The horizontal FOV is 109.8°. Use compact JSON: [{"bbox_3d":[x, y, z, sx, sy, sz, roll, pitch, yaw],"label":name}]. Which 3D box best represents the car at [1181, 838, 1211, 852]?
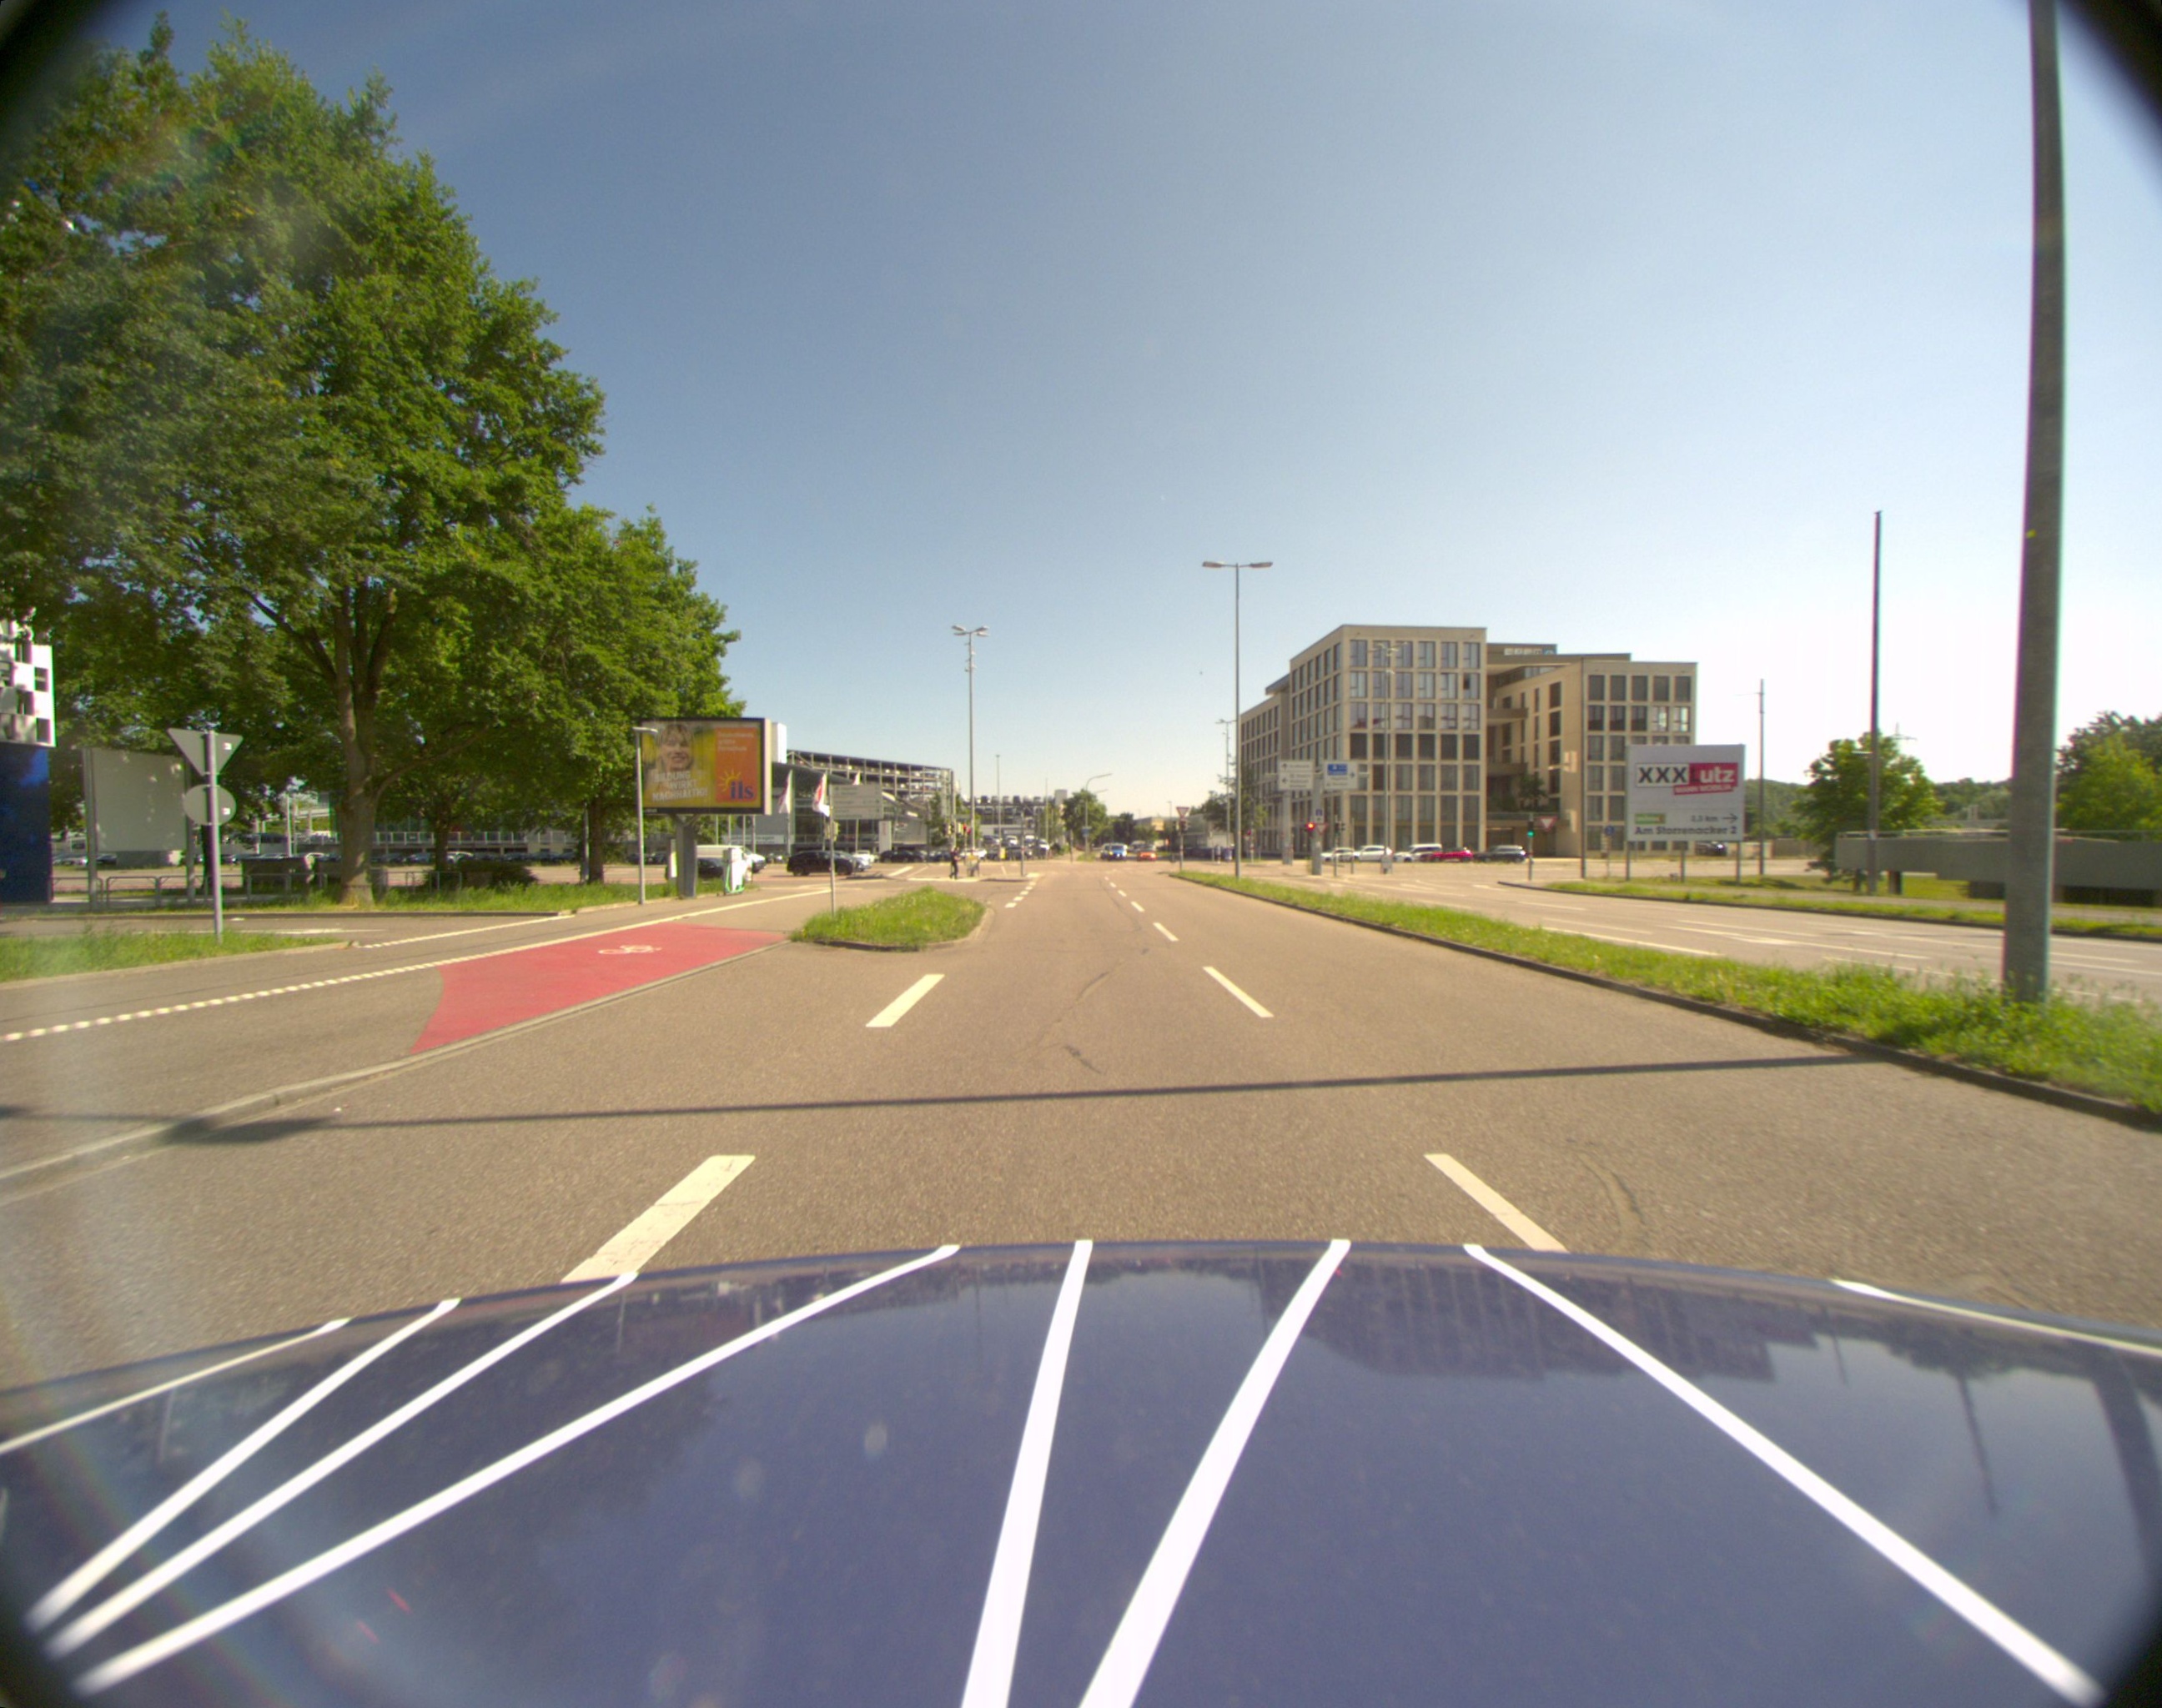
[{"bbox_3d":[16.639,-1.332,109.750,3.991,2.002,2.002,0,1,18],"label":"car"}]

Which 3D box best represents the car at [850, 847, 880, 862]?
[{"bbox_3d":[-21.260,0.016,75.000,2.004,1.414,4.112,-1,1,-3],"label":"car"}]

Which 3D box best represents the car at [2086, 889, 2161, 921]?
[{"bbox_3d":[35.571,1.698,25.672,1.942,1.002,1.071,0,0,-4],"label":"car"}]

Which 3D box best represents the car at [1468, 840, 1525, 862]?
[{"bbox_3d":[37.574,-0.329,68.762,4.241,1.878,1.833,-1,2,-3],"label":"car"}]

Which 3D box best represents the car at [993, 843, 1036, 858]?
[{"bbox_3d":[-7.009,-0.396,80.555,4.479,1.578,1.979,-1,1,-2],"label":"car"}]

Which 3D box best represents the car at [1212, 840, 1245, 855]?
[{"bbox_3d":[18.668,-0.855,96.108,3.991,1.816,2.002,0,1,18],"label":"car"}]

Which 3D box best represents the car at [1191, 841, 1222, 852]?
[{"bbox_3d":[17.670,-1.071,106.967,3.991,1.605,2.002,0,1,18],"label":"car"}]

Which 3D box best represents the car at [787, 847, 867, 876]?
[{"bbox_3d":[-16.346,0.481,49.077,4.502,1.618,1.714,-2,3,-5],"label":"car"}]

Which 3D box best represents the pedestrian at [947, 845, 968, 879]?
[{"bbox_3d":[-6.554,0.409,40.332,0.705,1.770,0.961,0,2,22],"label":"pedestrian"}]

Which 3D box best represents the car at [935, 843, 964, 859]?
[{"bbox_3d":[-13.046,-0.309,75.436,1.998,1.452,4.000,-1,1,2],"label":"car"}]

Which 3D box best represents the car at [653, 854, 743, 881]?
[{"bbox_3d":[-21.540,0.747,42.765,4.232,1.456,1.773,0,1,8],"label":"car"}]

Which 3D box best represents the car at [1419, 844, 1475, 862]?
[{"bbox_3d":[31.436,-0.074,65.328,4.119,1.519,1.530,-1,1,-5],"label":"car"}]

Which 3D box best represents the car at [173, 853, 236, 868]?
[{"bbox_3d":[-77.743,0.523,67.450,1.594,1.242,3.417,0,1,1],"label":"car"}]

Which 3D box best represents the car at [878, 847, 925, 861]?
[{"bbox_3d":[-17.864,-0.017,75.878,4.350,1.342,1.820,-1,1,-5],"label":"car"}]

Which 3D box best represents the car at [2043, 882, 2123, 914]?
[{"bbox_3d":[30.720,1.345,23.319,1.505,0.877,0.791,-1,2,-6],"label":"car"}]

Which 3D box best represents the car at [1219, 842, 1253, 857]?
[{"bbox_3d":[18.950,-0.565,92.847,3.993,1.729,2.001,1,3,11],"label":"car"}]

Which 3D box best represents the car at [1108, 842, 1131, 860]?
[{"bbox_3d":[4.163,-0.359,81.922,2.184,1.898,4.731,0,1,6],"label":"car"}]

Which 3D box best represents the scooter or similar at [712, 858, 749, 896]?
[{"bbox_3d":[-11.399,0.742,24.762,0.402,1.160,1.185,0,3,14],"label":"scooter or similar"}]

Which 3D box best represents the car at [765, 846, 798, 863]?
[{"bbox_3d":[-29.074,0.054,73.856,1.930,1.553,3.886,-1,1,-5],"label":"car"}]

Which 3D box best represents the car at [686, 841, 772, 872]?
[{"bbox_3d":[-24.100,0.143,52.148,4.998,1.996,1.739,-1,3,-5],"label":"car"}]

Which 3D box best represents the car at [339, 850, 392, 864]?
[{"bbox_3d":[-66.915,0.294,71.102,1.594,1.242,3.417,0,1,1],"label":"car"}]

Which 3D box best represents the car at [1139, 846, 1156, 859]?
[{"bbox_3d":[7.205,-0.161,81.692,1.738,1.356,3.866,0,1,6],"label":"car"}]

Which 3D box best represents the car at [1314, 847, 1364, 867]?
[{"bbox_3d":[23.111,0.244,68.105,3.766,1.703,1.832,-1,2,-8],"label":"car"}]

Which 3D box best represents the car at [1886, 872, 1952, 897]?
[{"bbox_3d":[35.197,1.277,31.922,1.943,0.969,0.889,-1,0,-6],"label":"car"}]

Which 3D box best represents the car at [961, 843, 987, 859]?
[{"bbox_3d":[-10.604,-0.366,75.733,1.887,1.453,3.999,-1,2,2],"label":"car"}]

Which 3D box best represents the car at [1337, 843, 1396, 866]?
[{"bbox_3d":[24.354,0.053,64.947,4.311,1.828,2.024,-1,2,-7],"label":"car"}]

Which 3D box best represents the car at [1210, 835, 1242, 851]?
[{"bbox_3d":[19.098,-1.433,99.937,3.991,2.002,2.002,0,1,18],"label":"car"}]

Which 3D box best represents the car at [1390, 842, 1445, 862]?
[{"bbox_3d":[30.327,-0.183,68.538,4.230,1.702,1.903,-1,1,-5],"label":"car"}]

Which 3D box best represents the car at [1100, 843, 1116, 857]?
[{"bbox_3d":[3.168,-0.460,88.697,1.667,1.548,3.853,-1,2,-1],"label":"car"}]

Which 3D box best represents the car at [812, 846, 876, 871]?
[{"bbox_3d":[-16.468,0.307,52.972,3.827,1.604,1.759,-1,2,3],"label":"car"}]

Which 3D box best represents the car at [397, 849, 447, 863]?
[{"bbox_3d":[-61.973,0.208,71.502,1.594,1.242,3.417,0,1,1],"label":"car"}]
